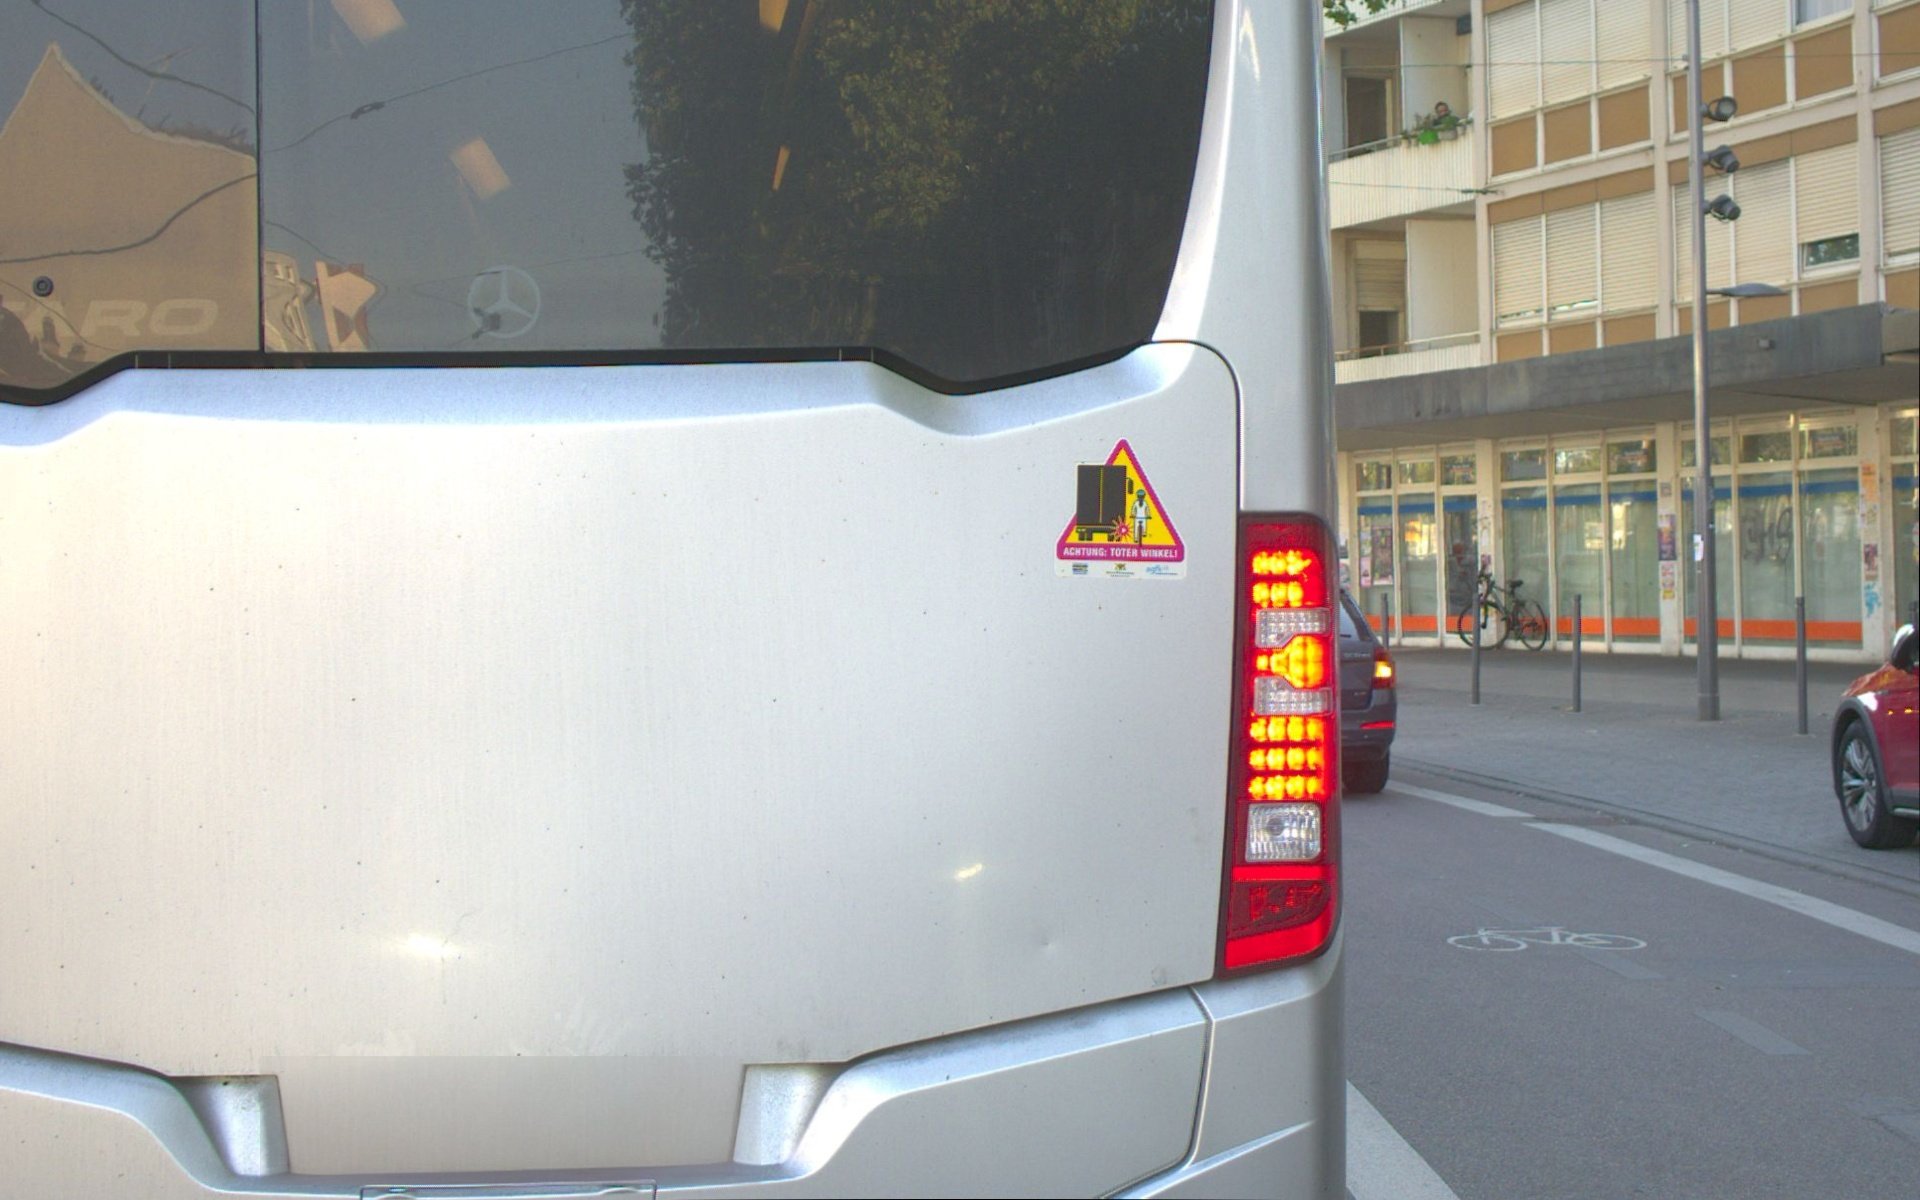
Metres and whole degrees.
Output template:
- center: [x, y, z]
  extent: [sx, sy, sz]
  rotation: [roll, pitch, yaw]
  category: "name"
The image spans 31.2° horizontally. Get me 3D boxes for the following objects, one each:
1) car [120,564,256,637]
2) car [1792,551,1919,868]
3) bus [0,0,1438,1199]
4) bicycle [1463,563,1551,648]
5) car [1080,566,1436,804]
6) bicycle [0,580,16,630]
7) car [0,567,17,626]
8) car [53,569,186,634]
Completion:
- center: [-17.456, -0.002, 77.666]
  extent: [1.663, 1.511, 3.412]
  rotation: [-5, 4, -37]
  category: "car"
- center: [5.505, 0.502, 15.985]
  extent: [1.778, 1.491, 4.568]
  rotation: [-3, 1, -4]
  category: "car"
- center: [-0.883, -0.143, 9.902]
  extent: [2.657, 3.088, 10.217]
  rotation: [-1, 0, -2]
  category: "bus"
- center: [7.227, 0.066, 45.453]
  extent: [0.437, 1.089, 1.462]
  rotation: [-4, 2, -20]
  category: "bicycle"
- center: [1.920, 0.503, 23.337]
  extent: [1.803, 1.469, 4.072]
  rotation: [0, 1, -4]
  category: "car"
- center: [-23.716, 0.111, 84.943]
  extent: [0.507, 1.207, 2.093]
  rotation: [-1, 1, -21]
  category: "bicycle"
- center: [-25.689, -0.042, 88.041]
  extent: [1.663, 1.463, 3.411]
  rotation: [-5, 4, -38]
  category: "car"
- center: [-19.818, 0.017, 80.983]
  extent: [1.663, 1.390, 3.411]
  rotation: [-6, 4, -39]
  category: "car"
